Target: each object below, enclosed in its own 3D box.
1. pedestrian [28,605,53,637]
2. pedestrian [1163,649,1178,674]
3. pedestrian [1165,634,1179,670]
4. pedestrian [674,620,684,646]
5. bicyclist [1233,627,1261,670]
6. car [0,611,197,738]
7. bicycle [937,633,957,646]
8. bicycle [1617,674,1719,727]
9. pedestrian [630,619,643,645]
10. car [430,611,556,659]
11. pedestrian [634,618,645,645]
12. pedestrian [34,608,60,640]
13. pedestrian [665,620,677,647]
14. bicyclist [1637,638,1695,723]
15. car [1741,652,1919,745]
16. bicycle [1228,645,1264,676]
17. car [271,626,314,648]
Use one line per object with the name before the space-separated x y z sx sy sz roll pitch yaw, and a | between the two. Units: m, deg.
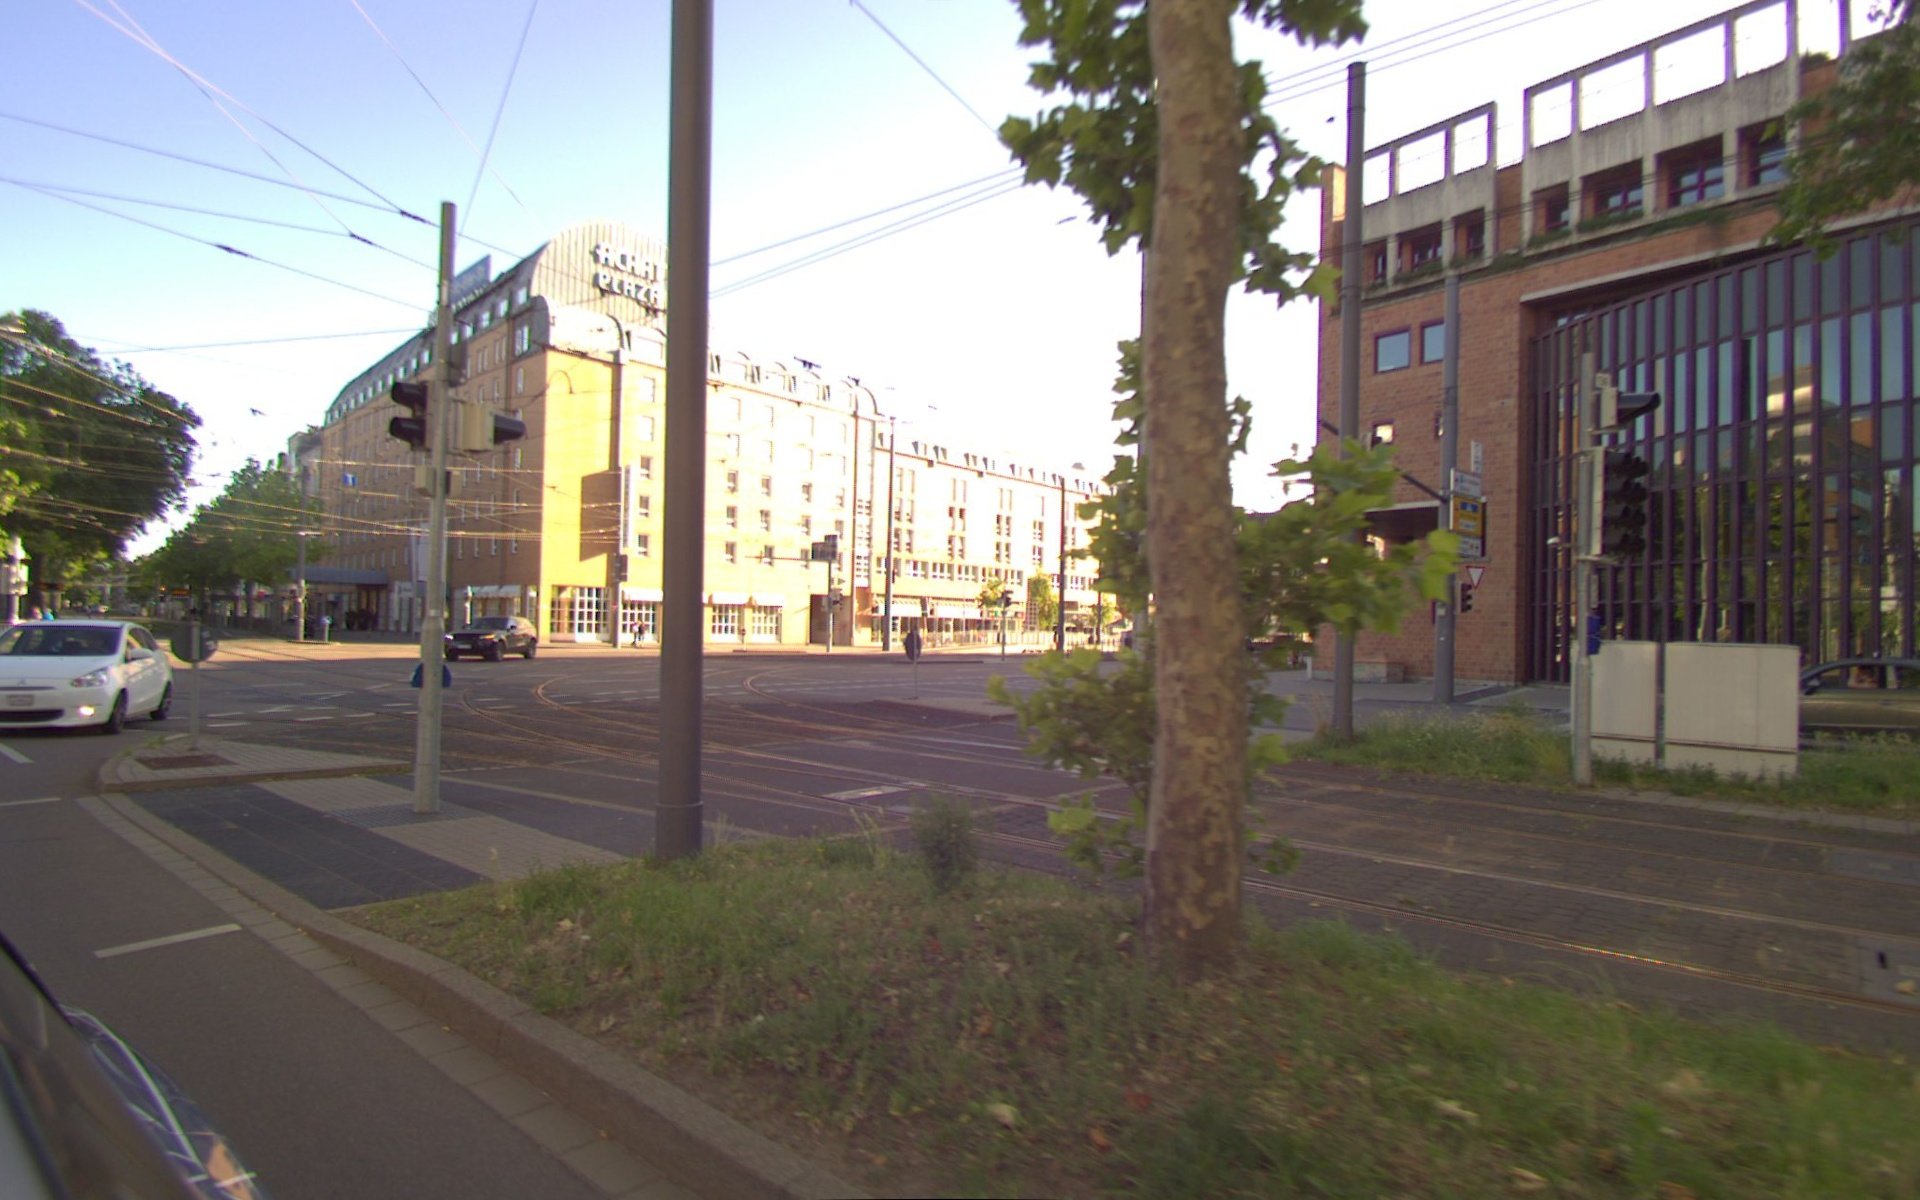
pedestrian | -44.695 1.032 49.203 0.650 1.551 0.734 -1 -2 32
pedestrian | 13.545 3.940 65.125 0.701 1.546 0.646 0 -2 37
pedestrian | 9.484 2.324 45.297 0.508 1.629 0.500 -1 -2 29
pedestrian | -19.229 2.250 69.307 0.570 1.787 0.406 2 0 -10
bicyclist | 11.011 1.863 38.828 0.675 1.602 0.929 1 -1 -8
car | -11.914 0.910 13.702 1.612 1.478 4.200 2 -2 -24
bicycle | -1.169 3.485 89.881 1.776 1.079 0.727 1 0 43
bicycle | 14.051 1.978 20.120 0.528 0.920 1.572 2 -2 -38
pedestrian | -21.858 2.148 68.397 0.603 1.740 0.594 -2 -3 41
car | -17.321 1.308 37.782 1.938 1.674 4.334 -1 -2 15
pedestrian | -21.272 2.090 67.196 0.565 1.781 0.696 1 -3 -6
pedestrian | -43.988 1.157 48.775 0.675 1.551 0.734 -1 -2 32
pedestrian | -19.516 2.260 68.424 0.492 1.847 0.732 2 0 5
bicyclist | 14.059 1.586 20.160 0.614 1.634 0.816 2 -2 -38
car | 14.502 1.506 15.783 3.616 1.338 1.635 -2 -2 37
bicycle | 10.981 2.313 38.915 0.607 1.088 1.923 1 -1 -8
car | -48.239 2.659 73.095 1.770 1.477 4.315 4 -2 -44
